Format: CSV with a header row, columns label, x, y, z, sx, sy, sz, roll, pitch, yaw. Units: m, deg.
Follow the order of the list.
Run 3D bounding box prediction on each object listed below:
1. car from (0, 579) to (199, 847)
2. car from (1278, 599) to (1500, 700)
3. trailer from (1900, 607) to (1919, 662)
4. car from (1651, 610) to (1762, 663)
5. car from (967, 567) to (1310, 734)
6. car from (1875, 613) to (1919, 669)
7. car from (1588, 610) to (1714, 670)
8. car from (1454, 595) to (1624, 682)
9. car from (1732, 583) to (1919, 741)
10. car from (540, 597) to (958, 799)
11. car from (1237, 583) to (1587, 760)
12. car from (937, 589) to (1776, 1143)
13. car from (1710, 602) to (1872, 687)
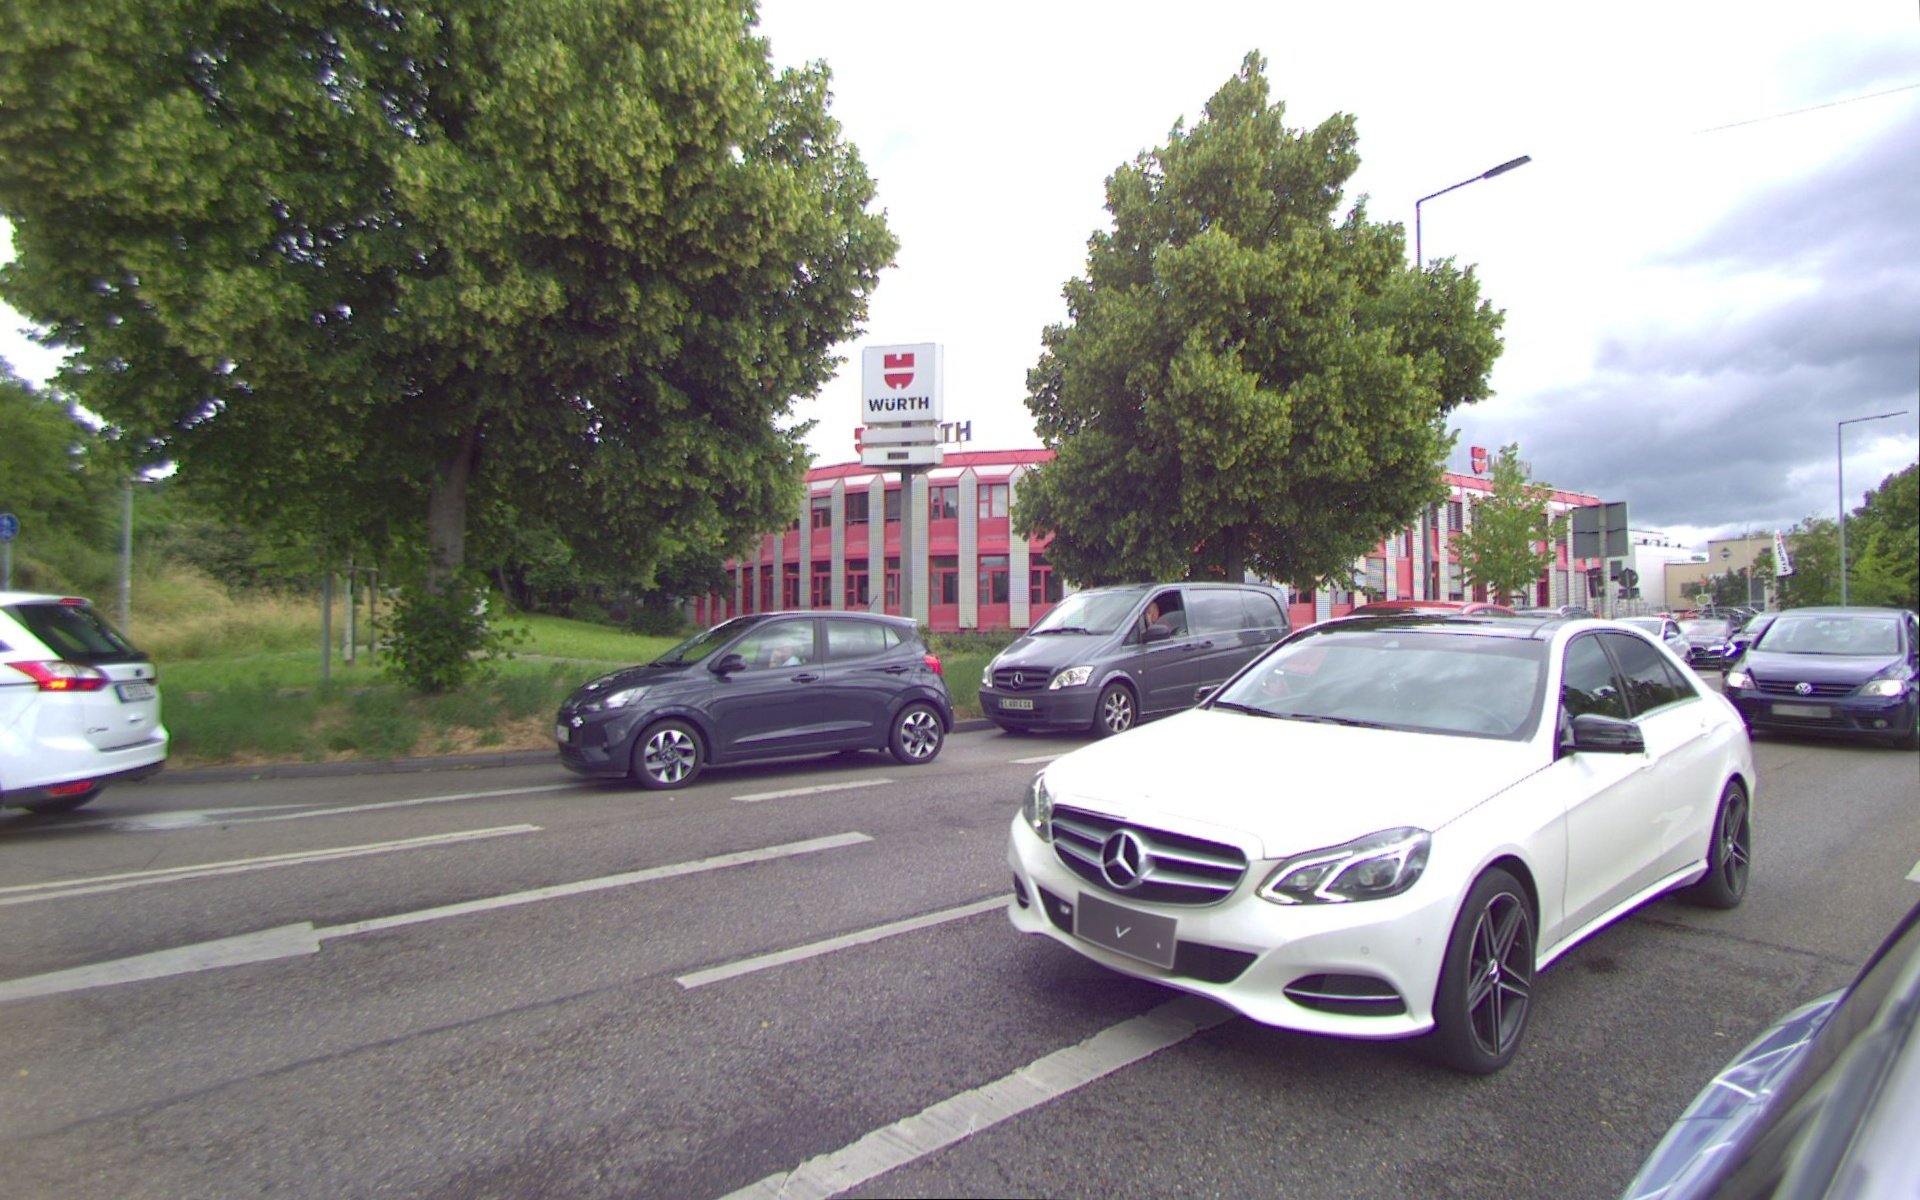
label,x,y,z,sx,sy,sz,roll,pitch,yaw
car,-7.860,0.717,6.595,4.278,1.676,1.767,0,-1,-20
car,7.405,0.800,17.315,4.034,1.536,1.842,0,-4,-41
trailer,31.222,1.079,31.971,3.925,1.680,1.774,1,-1,-40
car,22.109,1.029,29.917,4.293,1.458,1.761,0,-1,-41
car,2.429,0.634,13.069,4.591,1.799,1.761,1,-5,-40
car,28.055,1.152,29.291,4.323,1.469,1.774,-1,1,-40
car,18.449,1.002,26.962,4.293,1.458,1.761,0,-1,-41
car,12.390,0.805,21.574,4.133,1.679,1.863,1,-3,-41
car,10.819,0.608,12.208,3.927,1.618,1.667,-1,0,-41
car,-1.915,0.756,9.489,3.495,1.525,1.608,-1,0,-34
car,5.038,0.656,10.999,4.299,1.549,1.850,1,-1,-41
car,2.110,0.678,4.705,4.240,1.429,1.803,-1,1,-39
car,17.479,0.852,21.241,4.142,1.549,1.798,-1,0,-38
